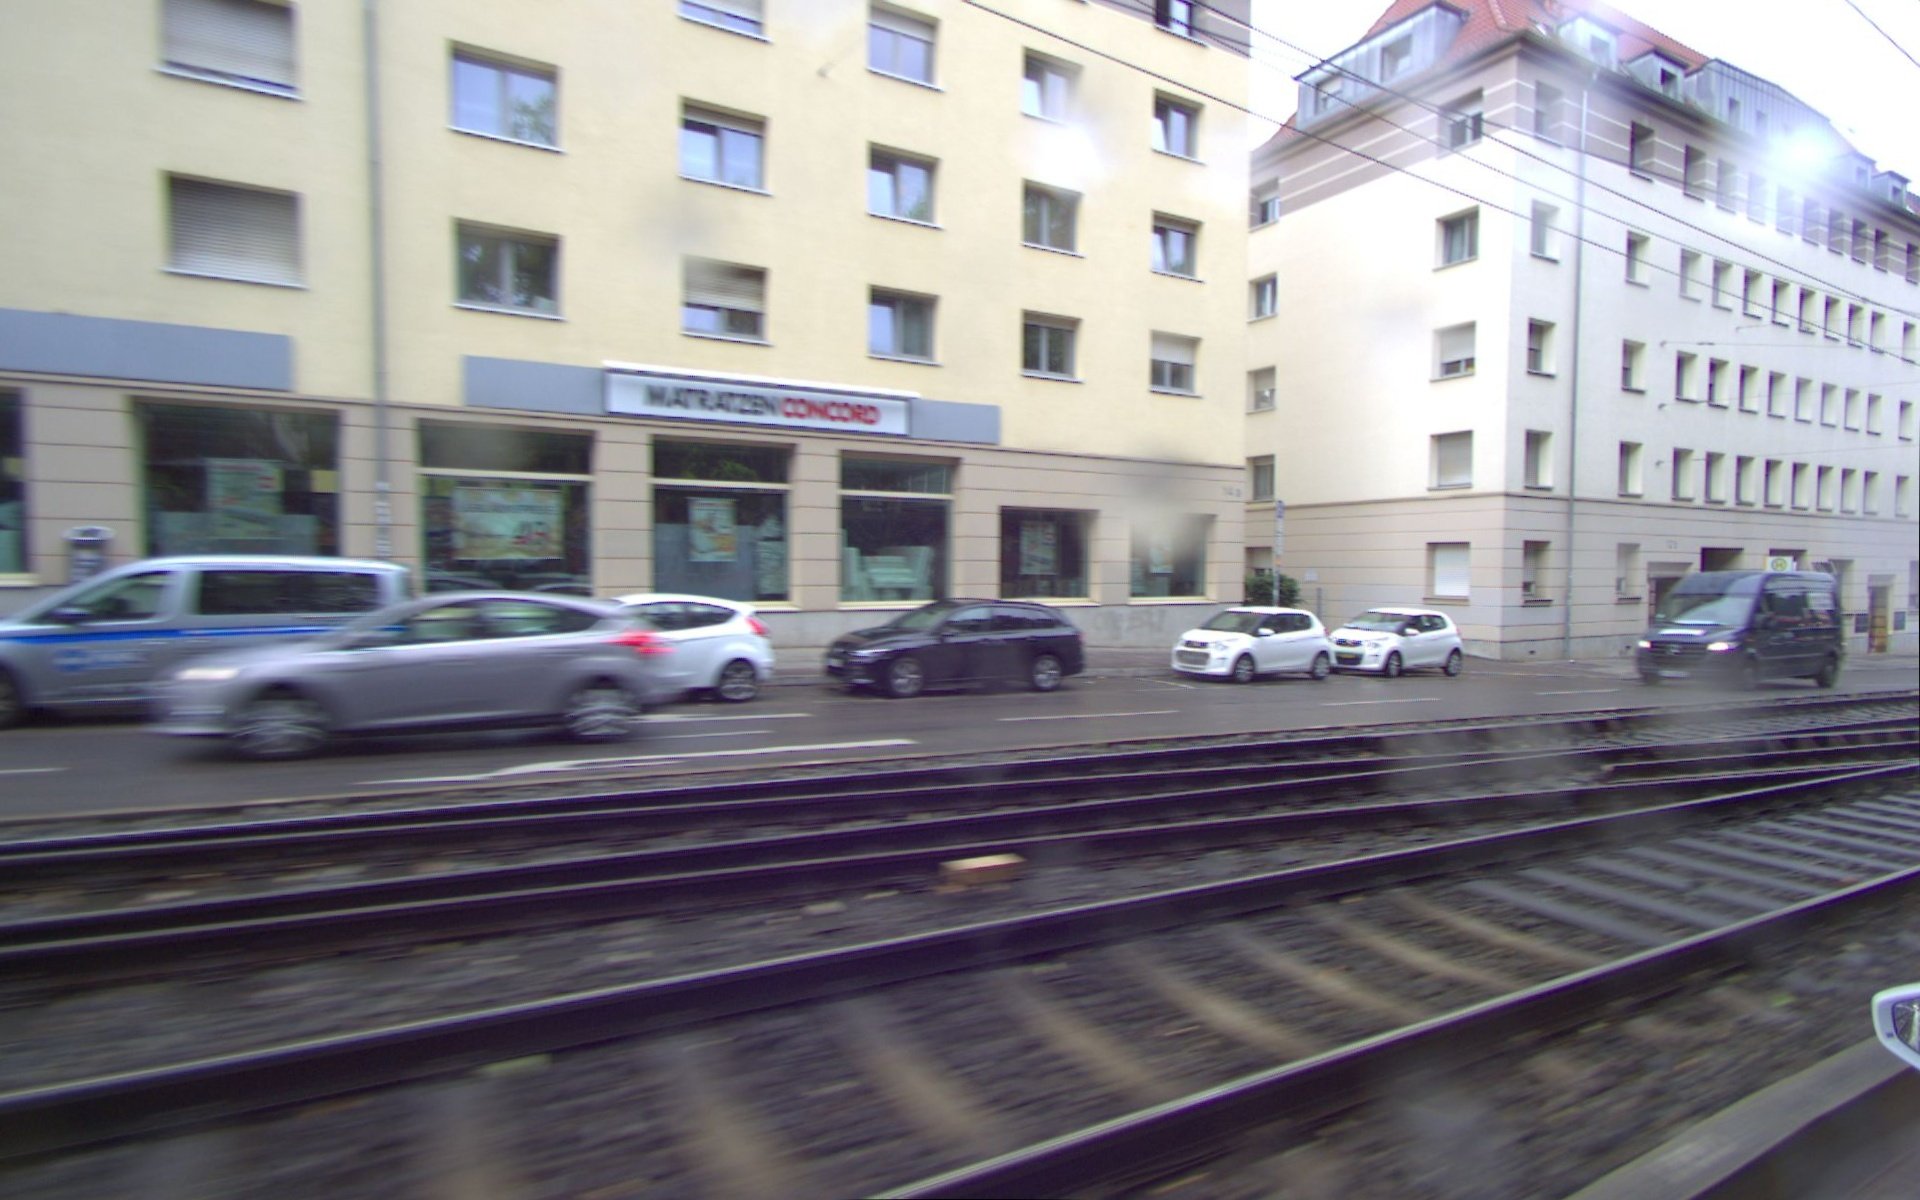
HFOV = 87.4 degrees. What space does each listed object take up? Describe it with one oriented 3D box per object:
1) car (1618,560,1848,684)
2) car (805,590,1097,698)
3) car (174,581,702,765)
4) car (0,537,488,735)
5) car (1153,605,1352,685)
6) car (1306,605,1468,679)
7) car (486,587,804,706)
[{"bbox_3d":[17.463,0.536,22.591,5.928,2.484,1.984,2,0,-30],"label":"car"},{"bbox_3d":[-0.090,0.671,16.619,4.529,1.519,1.804,1,2,-31],"label":"car"},{"bbox_3d":[-4.866,0.624,9.861,4.229,1.482,1.704,1,0,-30],"label":"car"},{"bbox_3d":[-8.498,0.342,11.561,5.396,1.931,1.983,1,3,-31],"label":"car"},{"bbox_3d":[6.020,0.882,20.611,3.890,1.415,1.695,1,2,-31],"label":"car"},{"bbox_3d":[9.797,0.938,22.997,3.503,1.469,1.698,2,2,-33],"label":"car"},{"bbox_3d":[-4.380,0.656,14.147,4.004,1.458,1.683,1,-4,-32],"label":"car"}]
